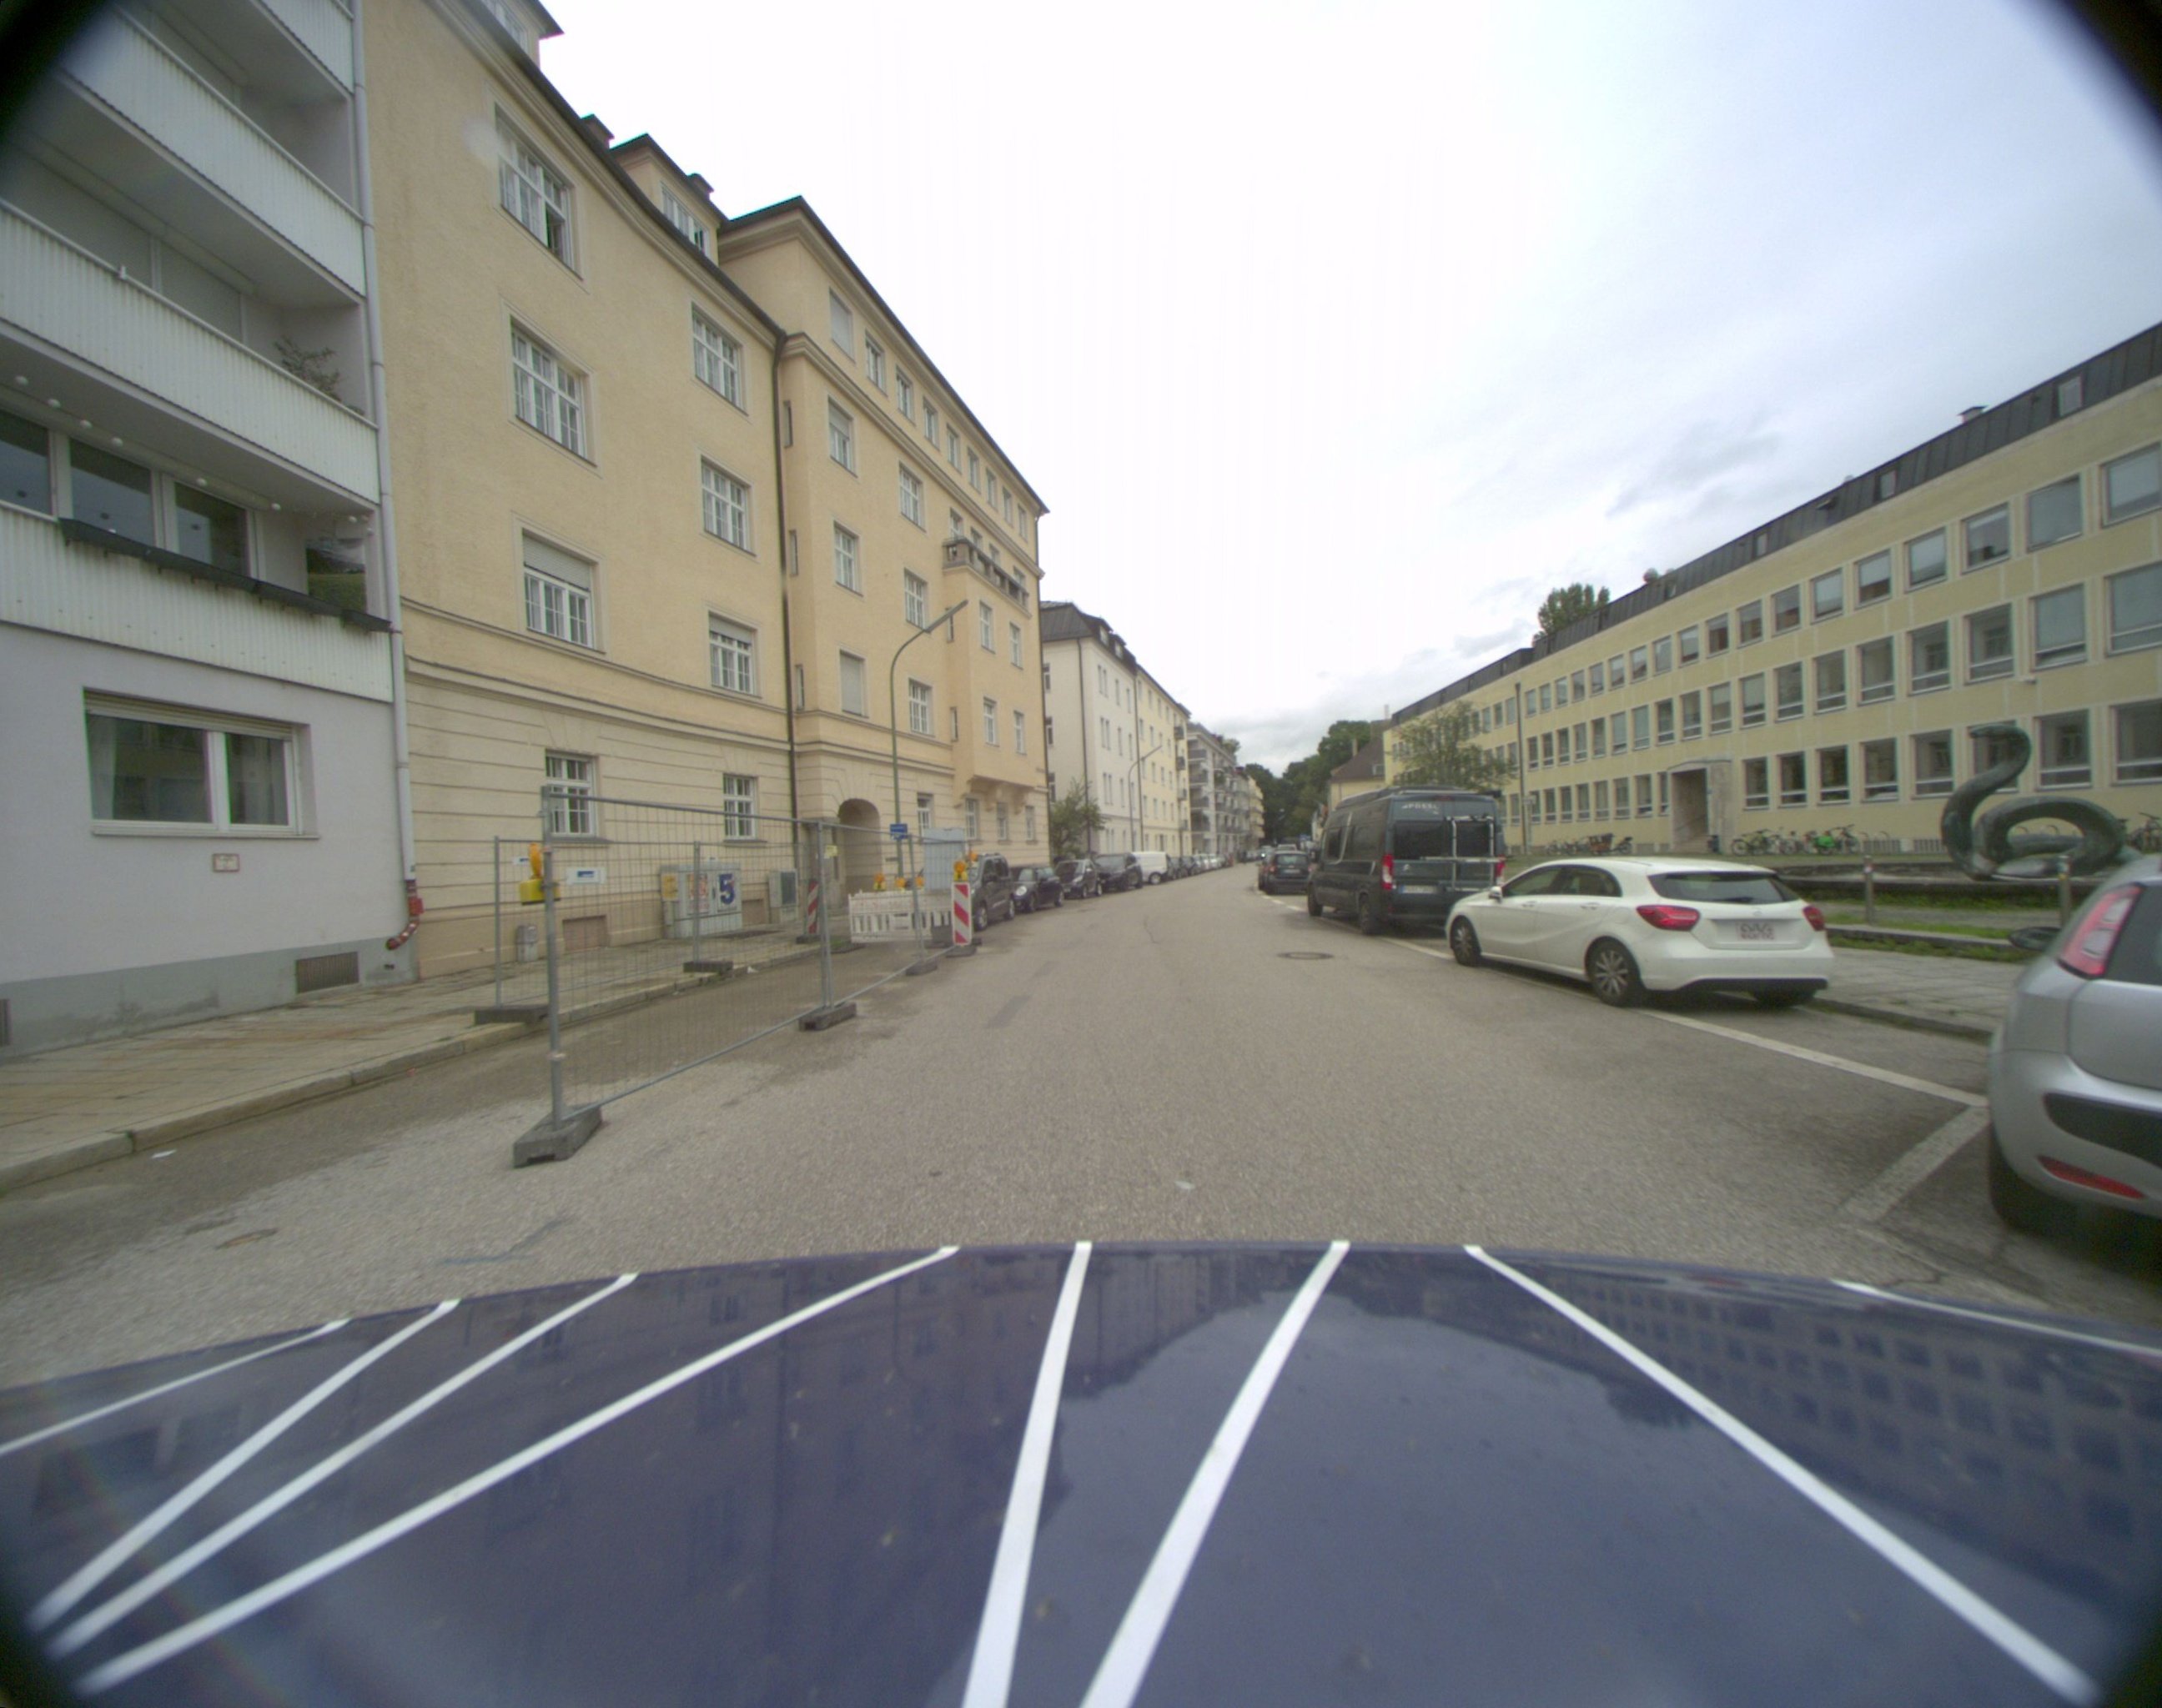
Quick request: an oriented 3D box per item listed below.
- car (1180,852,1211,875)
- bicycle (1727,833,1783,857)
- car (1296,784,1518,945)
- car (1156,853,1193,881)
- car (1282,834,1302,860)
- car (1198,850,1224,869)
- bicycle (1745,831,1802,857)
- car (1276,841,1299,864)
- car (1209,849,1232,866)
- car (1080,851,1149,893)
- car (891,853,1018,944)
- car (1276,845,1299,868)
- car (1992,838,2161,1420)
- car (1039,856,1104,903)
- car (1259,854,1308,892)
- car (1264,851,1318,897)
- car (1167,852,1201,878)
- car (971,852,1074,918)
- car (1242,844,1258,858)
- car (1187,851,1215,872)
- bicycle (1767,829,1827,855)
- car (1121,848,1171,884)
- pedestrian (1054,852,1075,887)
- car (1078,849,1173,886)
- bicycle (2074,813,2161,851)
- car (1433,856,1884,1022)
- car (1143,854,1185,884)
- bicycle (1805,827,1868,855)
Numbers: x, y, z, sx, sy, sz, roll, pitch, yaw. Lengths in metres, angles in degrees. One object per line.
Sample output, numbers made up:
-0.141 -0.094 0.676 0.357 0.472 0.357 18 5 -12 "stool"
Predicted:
8.944 0.703 59.242 1.780 1.582 3.706 -4 0 17 "car"
29.021 -0.383 32.725 1.906 0.911 0.438 -4 1 2 "bicycle"
6.135 0.155 15.385 2.149 2.559 6.212 -1 0 4 "car"
6.267 0.847 50.688 1.780 1.582 3.706 -4 0 17 "car"
23.099 -0.772 83.059 1.996 2.702 4.965 -2 1 17 "car"
11.774 0.504 68.721 1.839 1.450 4.026 -4 0 16 "car"
28.993 -0.422 31.810 1.906 0.911 0.438 -4 1 2 "bicycle"
19.113 -0.153 70.310 1.947 1.965 4.359 -1 1 15 "car"
13.569 0.342 74.004 1.740 1.367 4.026 -4 0 16 "car"
1.640 0.782 35.083 1.930 1.719 4.693 -4 -1 17 "car"
-2.884 0.948 18.364 1.840 1.788 4.240 -4 0 6 "car"
16.552 0.166 60.878 1.742 1.679 4.127 -1 1 16 "car"
5.129 0.767 2.845 3.988 1.521 1.671 -5 0 -33 "car"
-0.326 0.948 29.252 1.509 1.548 2.866 -4 0 19 "car"
8.135 0.712 30.799 1.724 1.356 4.216 0 1 12 "car"
7.297 0.659 26.627 1.669 1.451 2.870 0 1 13 "car"
7.453 0.751 54.603 1.780 1.582 3.706 -4 0 17 "car"
-1.733 0.893 23.717 1.839 1.720 3.734 -4 0 17 "car"
22.543 -0.380 101.299 1.637 1.726 3.884 -4 0 17 "car"
10.213 0.606 64.525 1.780 1.582 3.706 -4 0 17 "car"
28.991 -0.481 30.768 1.906 0.911 0.438 -4 1 2 "bicycle"
3.680 0.645 42.539 1.780 1.720 4.394 -4 0 17 "car"
-0.859 0.809 39.513 0.694 1.750 0.684 -5 1 -42 "pedestrian"
2.348 0.721 40.881 4.922 1.762 1.885 -2 1 -3 "car"
29.004 -0.612 21.199 1.906 0.911 0.438 -4 1 2 "bicycle"
5.864 0.729 8.515 1.832 1.379 4.141 1 0 -1 "car"
5.160 0.882 46.909 1.780 1.582 3.706 -4 0 17 "car"
28.972 -0.503 29.150 1.906 0.911 0.438 -4 1 2 "bicycle"
